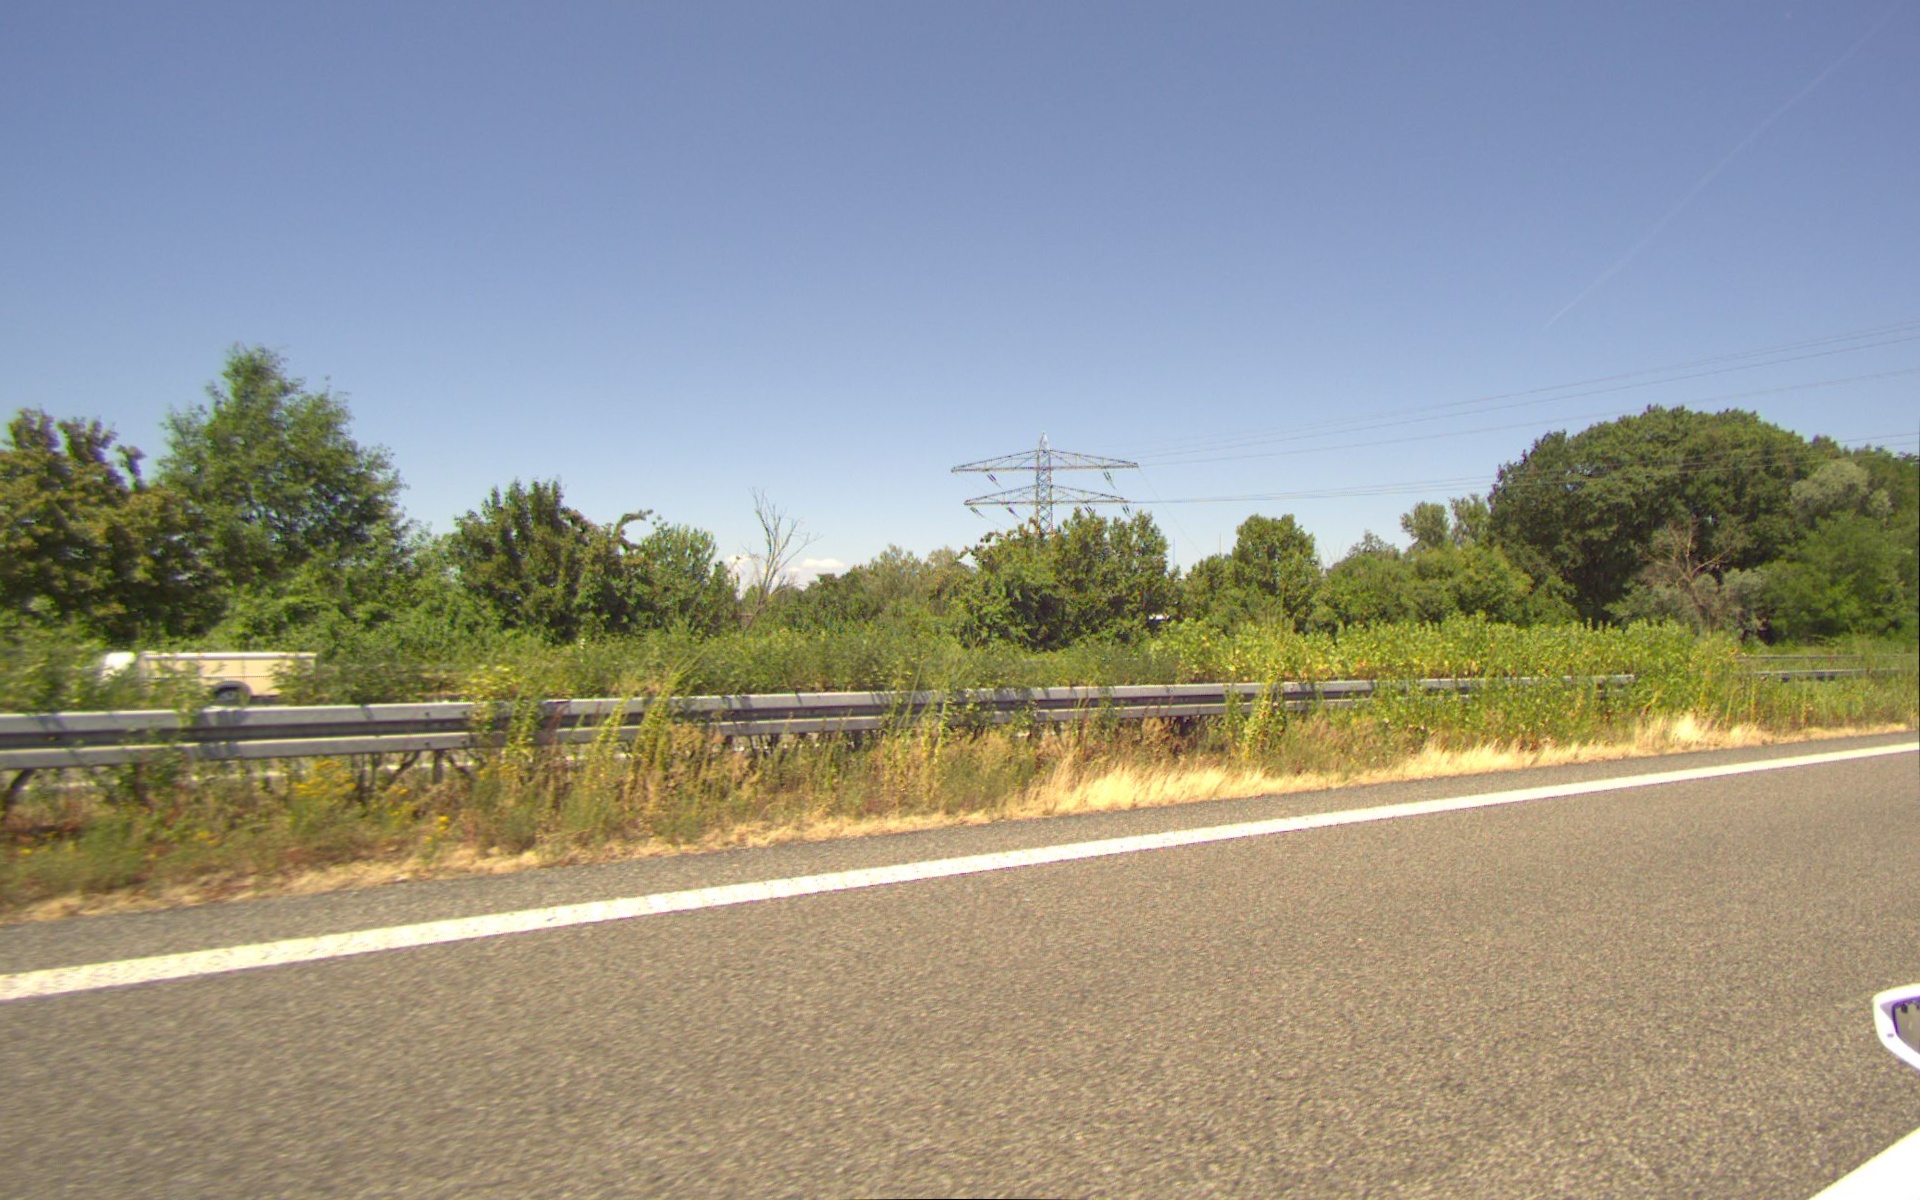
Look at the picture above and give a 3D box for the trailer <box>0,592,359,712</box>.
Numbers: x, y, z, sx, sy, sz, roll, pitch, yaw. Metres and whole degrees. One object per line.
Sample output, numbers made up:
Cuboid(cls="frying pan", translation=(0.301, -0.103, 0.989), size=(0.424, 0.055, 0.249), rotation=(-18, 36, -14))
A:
Cuboid(cls="trailer", translation=(-13.315, 0.777, 15.918), size=(6.414, 1.706, 2.477), rotation=(1, -1, -31))
